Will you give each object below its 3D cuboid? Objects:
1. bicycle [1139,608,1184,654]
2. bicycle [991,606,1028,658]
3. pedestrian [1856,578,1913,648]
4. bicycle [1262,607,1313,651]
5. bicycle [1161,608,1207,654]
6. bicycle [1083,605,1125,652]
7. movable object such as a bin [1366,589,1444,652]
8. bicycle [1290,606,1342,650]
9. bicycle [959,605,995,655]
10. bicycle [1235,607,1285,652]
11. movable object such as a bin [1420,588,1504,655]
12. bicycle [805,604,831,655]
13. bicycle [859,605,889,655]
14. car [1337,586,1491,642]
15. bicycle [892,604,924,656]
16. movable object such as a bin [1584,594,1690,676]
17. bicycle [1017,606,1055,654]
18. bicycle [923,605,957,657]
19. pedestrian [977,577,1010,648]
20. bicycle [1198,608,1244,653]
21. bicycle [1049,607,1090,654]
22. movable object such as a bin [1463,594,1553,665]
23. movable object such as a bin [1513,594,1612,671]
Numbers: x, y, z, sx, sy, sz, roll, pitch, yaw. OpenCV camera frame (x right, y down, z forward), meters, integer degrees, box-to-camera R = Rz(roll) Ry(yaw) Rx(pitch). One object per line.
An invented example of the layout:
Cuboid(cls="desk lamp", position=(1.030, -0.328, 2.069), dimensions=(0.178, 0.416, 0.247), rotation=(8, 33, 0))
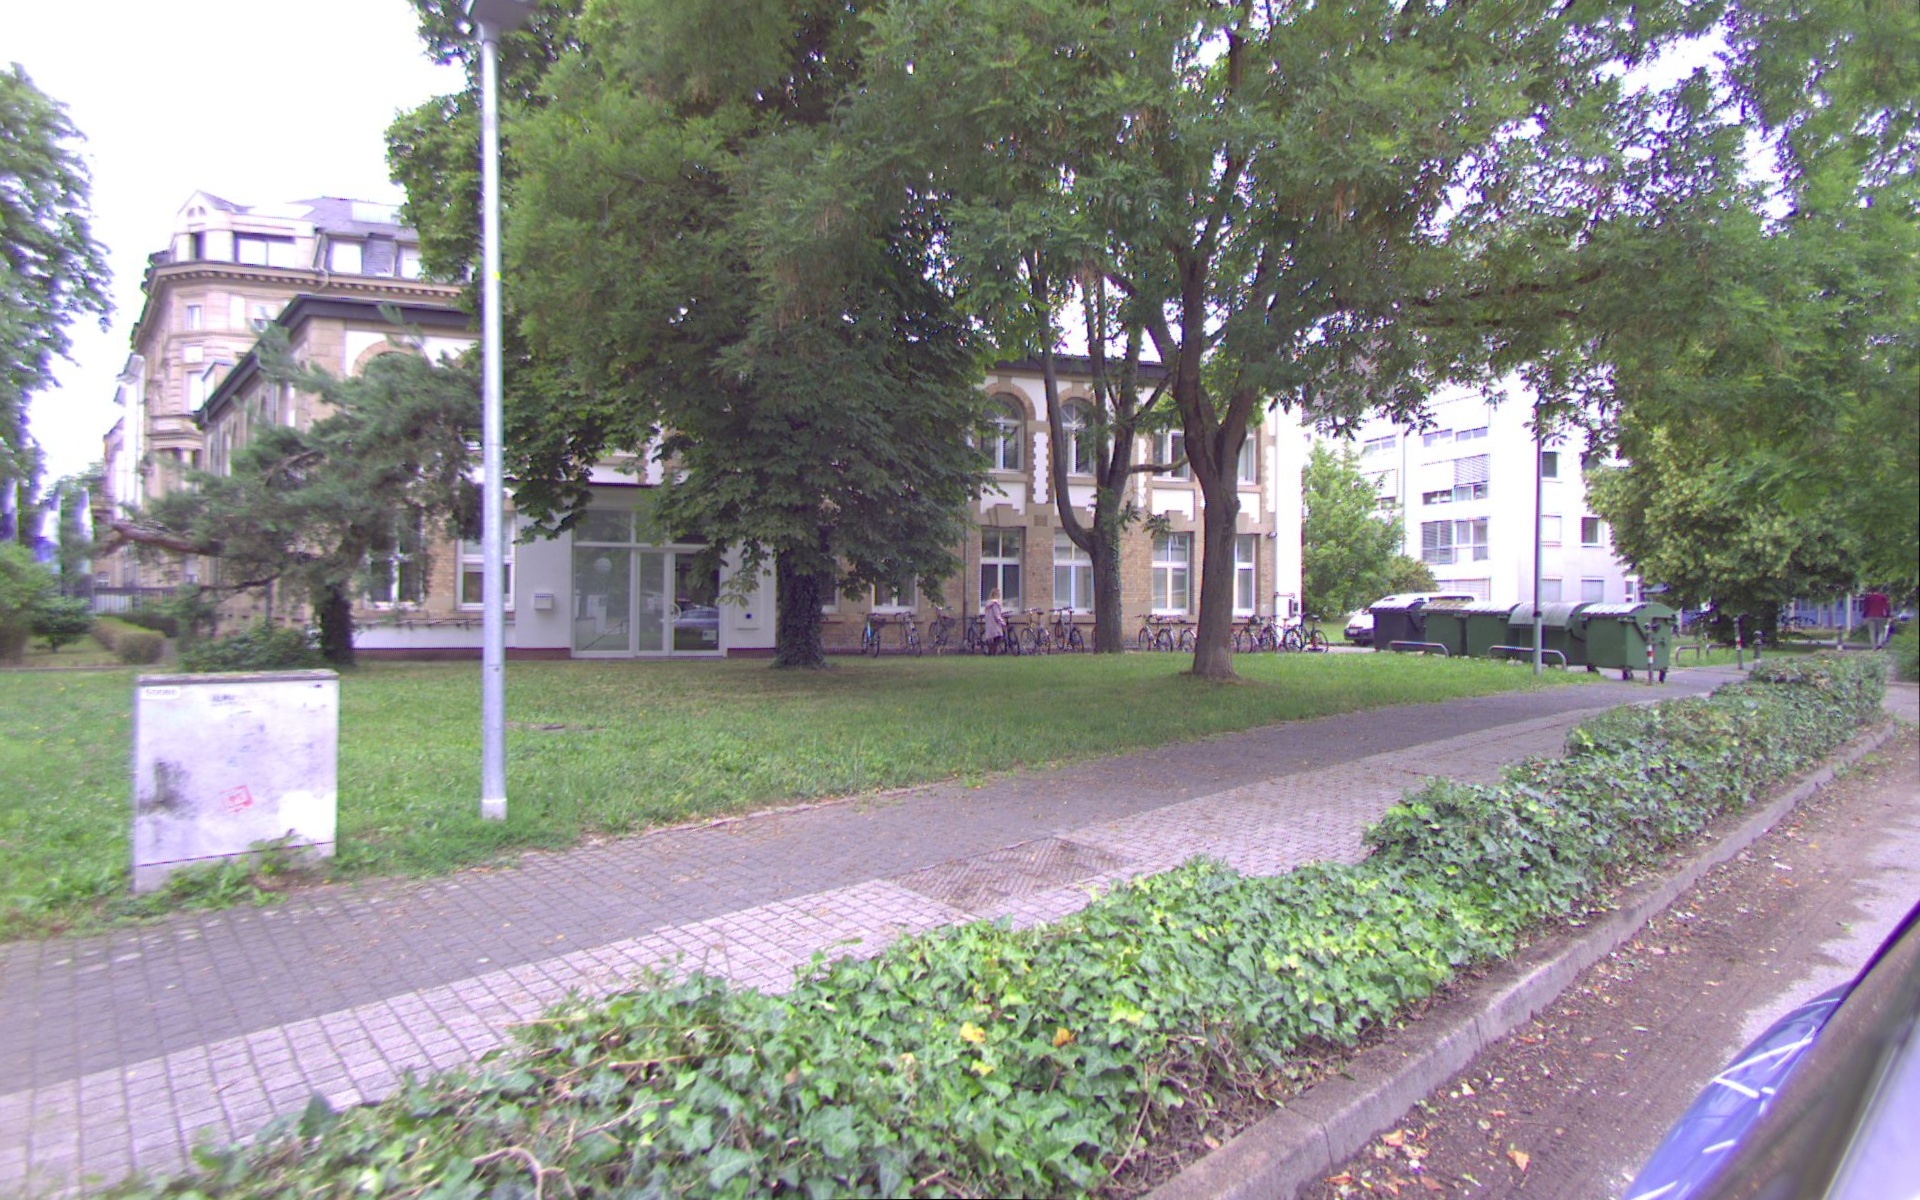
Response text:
Cuboid(cls="bicycle", position=(5.185, 0.769, 26.070), dimensions=(0.451, 1.129, 1.748), rotation=(1, 0, -13))
Cuboid(cls="bicycle", position=(1.201, 0.765, 24.880), dimensions=(0.451, 1.128, 1.749), rotation=(1, 2, -13))
Cuboid(cls="pedestrian", position=(27.936, 0.388, 30.584), dimensions=(1.175, 2.090, 0.796), rotation=(1, 0, -19))
Cuboid(cls="bicycle", position=(8.745, 0.763, 27.094), dimensions=(0.451, 1.129, 1.748), rotation=(1, 0, -13))
Cuboid(cls="bicycle", position=(5.783, 0.794, 26.220), dimensions=(0.451, 1.129, 1.748), rotation=(1, 0, -13))
Cuboid(cls="bicycle", position=(3.646, 0.713, 25.713), dimensions=(0.451, 1.128, 1.748), rotation=(1, 0, -13))
Cuboid(cls="movable object such as a bin", position=(10.787, 0.484, 24.560), dimensions=(1.085, 1.468, 1.365), rotation=(0, 0, -20))
Cuboid(cls="bicycle", position=(9.606, 0.740, 27.348), dimensions=(0.451, 1.129, 1.748), rotation=(1, 0, -14))
Cuboid(cls="bicycle", position=(0.398, 0.713, 24.747), dimensions=(0.451, 1.128, 1.748), rotation=(1, 1, -13))
Cuboid(cls="bicycle", position=(7.944, 0.767, 26.880), dimensions=(0.451, 1.129, 1.748), rotation=(1, 0, -13))
Cuboid(cls="movable object such as a bin", position=(11.420, 0.470, 23.066), dimensions=(1.085, 1.468, 1.329), rotation=(0, 0, -20))
Cuboid(cls="bicycle", position=(-3.338, 0.674, 23.688), dimensions=(0.451, 1.129, 1.748), rotation=(1, 0, -13))
Cuboid(cls="bicycle", position=(-2.047, 0.688, 24.039), dimensions=(0.451, 1.129, 1.748), rotation=(1, 0, -13))
Cuboid(cls="car", position=(15.941, 0.519, 35.616), dimensions=(4.673, 1.898, 1.904), rotation=(0, -2, -13))
Cuboid(cls="bicycle", position=(-1.259, 0.704, 24.289), dimensions=(0.451, 1.128, 1.749), rotation=(1, 2, -13))
Cuboid(cls="movable object such as a bin", position=(12.551, 0.626, 18.802), dimensions=(1.050, 1.452, 1.277), rotation=(0, 0, -6))
Cuboid(cls="bicycle", position=(1.880, 0.724, 25.224), dimensions=(0.451, 1.129, 1.748), rotation=(1, 0, -13))
Cuboid(cls="bicycle", position=(-0.485, 0.726, 24.383), dimensions=(0.451, 1.128, 1.749), rotation=(1, 3, -13))
Cuboid(cls="pedestrian", position=(0.774, 0.292, 23.326), dimensions=(0.614, 1.607, 0.605), rotation=(0, 0, -14))
Cuboid(cls="bicycle", position=(6.823, 0.779, 26.562), dimensions=(0.451, 1.129, 1.748), rotation=(1, 0, -11))
Cuboid(cls="bicycle", position=(2.731, 0.750, 25.385), dimensions=(0.451, 1.129, 1.748), rotation=(1, 0, -13))
Cuboid(cls="movable object such as a bin", position=(11.741, 0.603, 21.702), dimensions=(1.085, 1.468, 1.297), rotation=(0, 0, -20))
Cuboid(cls="movable object such as a bin", position=(11.994, 0.622, 20.179), dimensions=(1.085, 1.468, 1.289), rotation=(0, 0, -16))
